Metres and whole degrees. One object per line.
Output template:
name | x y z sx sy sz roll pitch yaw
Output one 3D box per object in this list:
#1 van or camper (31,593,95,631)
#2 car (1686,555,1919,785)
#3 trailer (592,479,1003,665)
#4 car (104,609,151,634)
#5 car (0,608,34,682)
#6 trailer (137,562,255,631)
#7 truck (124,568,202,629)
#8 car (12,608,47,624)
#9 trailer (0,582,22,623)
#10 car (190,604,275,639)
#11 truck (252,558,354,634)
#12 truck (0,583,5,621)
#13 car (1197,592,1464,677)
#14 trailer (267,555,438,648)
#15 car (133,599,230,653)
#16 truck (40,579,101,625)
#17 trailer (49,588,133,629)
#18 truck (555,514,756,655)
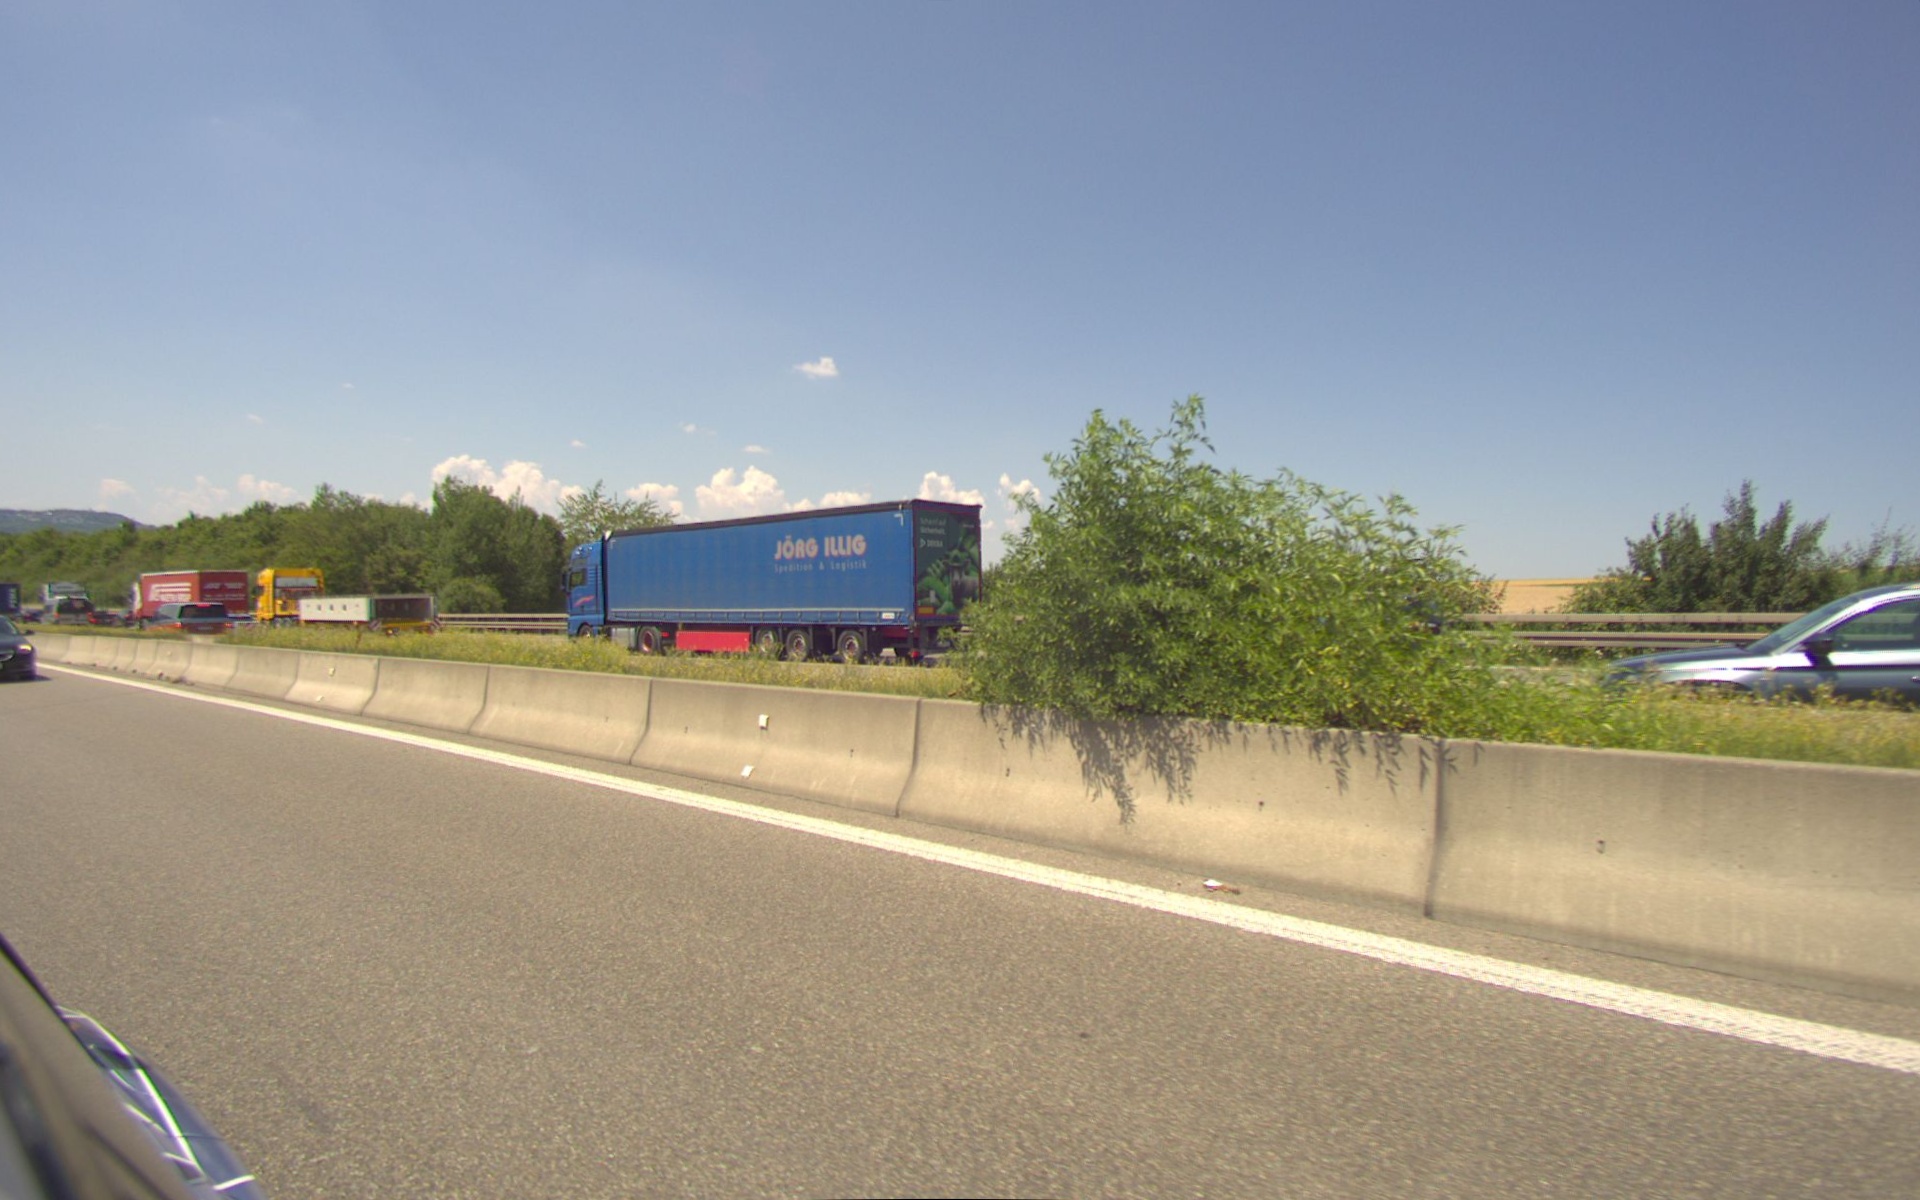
van or camper | -64.576 0.849 72.782 7.135 2.606 2.288 0 1 39
car | 8.128 0.482 7.475 4.347 1.646 1.973 -1 0 41
trailer | -5.377 -0.633 28.980 14.373 4.225 3.128 0 1 41
car | -63.246 1.620 76.865 4.598 1.643 1.821 2 2 37
car | -22.257 0.978 22.640 4.748 1.555 1.784 -1 0 42
trailer | -50.771 -0.194 66.967 14.368 4.131 3.055 0 1 40
truck | -56.532 -0.103 71.744 6.308 4.112 3.006 -1 1 39
car | -88.402 1.493 96.171 4.640 1.442 1.641 0 0 37
trailer | -102.700 0.252 107.679 8.582 4.224 2.958 0 0 38
car | -34.690 1.008 48.209 5.737 1.553 1.894 -1 0 40
truck | -35.639 -0.192 54.766 7.094 3.866 2.722 -1 0 41
truck | -110.377 0.239 113.623 10.717 4.266 2.973 0 0 38
car | 6.751 0.596 18.733 4.347 1.396 1.640 -1 0 41
trailer | -30.556 0.128 50.393 14.372 4.131 2.922 -1 0 41
car | -31.127 0.998 40.388 5.442 1.985 1.894 0 1 40
truck | -77.908 0.178 88.624 6.169 3.906 2.874 0 1 38
trailer | -72.645 0.695 84.460 12.765 3.230 2.831 0 1 38
truck | -10.077 -0.455 33.116 6.931 4.121 3.044 -1 0 41
